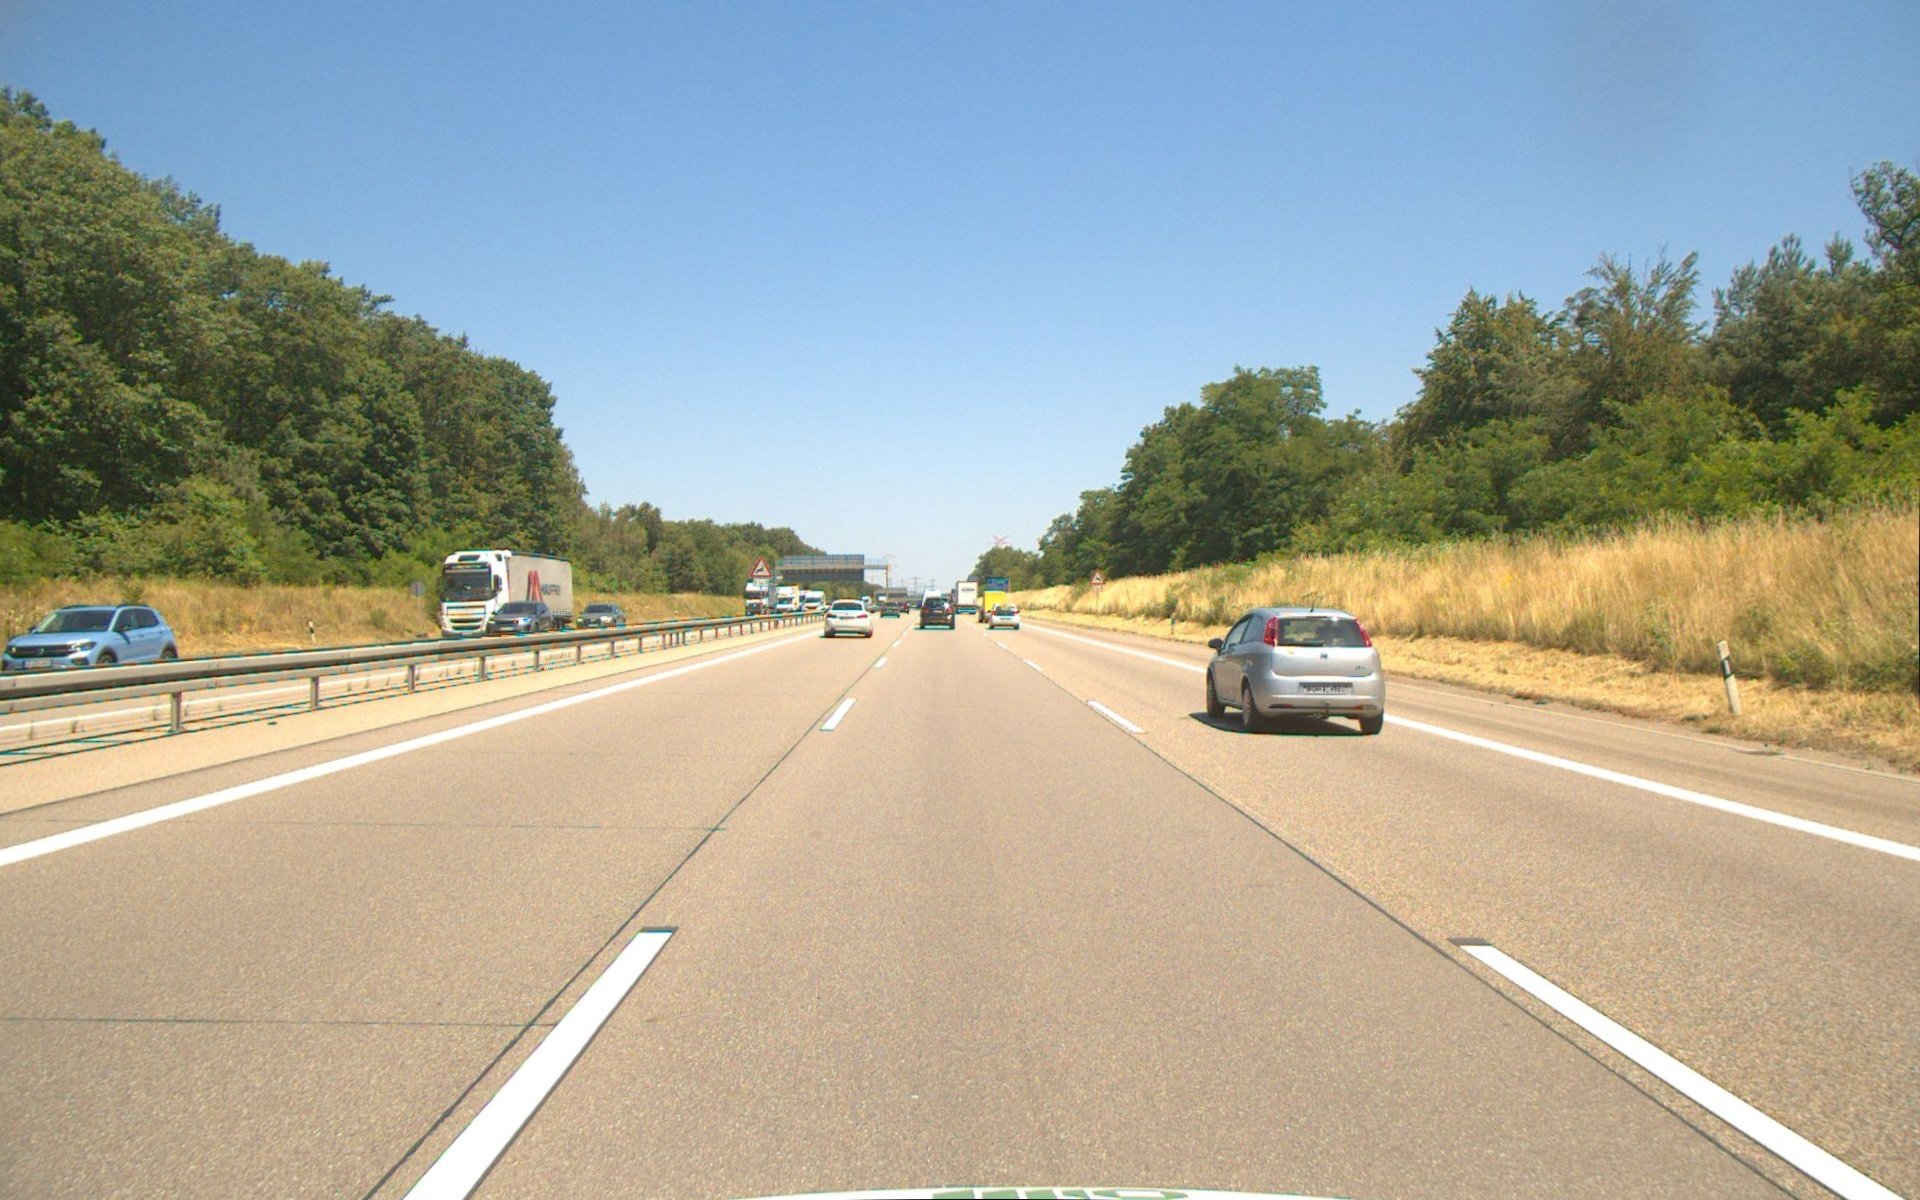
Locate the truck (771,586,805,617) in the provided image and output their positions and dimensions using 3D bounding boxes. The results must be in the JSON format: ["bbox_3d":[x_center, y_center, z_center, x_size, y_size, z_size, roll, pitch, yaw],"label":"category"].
[{"bbox_3d":[-19.313,0.134,186.382,3.365,3.403,5.235,-1,0,-2],"label":"truck"}]

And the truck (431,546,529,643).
[{"bbox_3d":[-21.866,-0.250,75.622,2.846,4.138,5.651,-2,0,-2],"label":"truck"}]

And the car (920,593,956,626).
[{"bbox_3d":[-1.239,0.513,89.977,1.795,1.701,3.998,1,0,-3],"label":"car"}]

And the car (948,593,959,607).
[{"bbox_3d":[-1.025,-0.025,259.114,1.525,2.049,3.899,2,0,-2],"label":"car"}]

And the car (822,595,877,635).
[{"bbox_3d":[-4.409,0.569,66.658,1.924,1.530,5.403,1,0,-1],"label":"car"}]

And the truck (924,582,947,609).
[{"bbox_3d":[-2.767,-0.522,184.543,2.380,2.935,6.202,1,0,-3],"label":"truck"}]

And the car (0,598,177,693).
[{"bbox_3d":[-16.660,0.800,30.860,1.953,1.595,4.527,-2,0,-1],"label":"car"}]

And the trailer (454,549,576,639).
[{"bbox_3d":[-22.087,-0.293,83.020,2.852,4.061,12.953,-2,0,-2],"label":"trailer"}]

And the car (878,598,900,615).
[{"bbox_3d":[-6.454,0.597,150.951,1.795,1.456,4.998,1,0,-1],"label":"car"}]

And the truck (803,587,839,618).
[{"bbox_3d":[-15.504,0.272,184.976,3.364,3.403,10.568,-1,0,-1],"label":"truck"}]

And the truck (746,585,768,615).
[{"bbox_3d":[-23.690,-0.027,193.397,2.076,3.403,3.999,-1,0,-2],"label":"truck"}]

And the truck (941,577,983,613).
[{"bbox_3d":[0.229,-0.657,211.570,3.917,4.390,9.864,2,0,-8],"label":"truck"}]

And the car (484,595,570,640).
[{"bbox_3d":[-16.679,0.657,63.999,1.953,1.595,5.189,-2,0,-1],"label":"car"}]

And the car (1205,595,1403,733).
[{"bbox_3d":[4.257,0.736,21.000,1.684,1.517,3.737,1,1,-1],"label":"car"}]

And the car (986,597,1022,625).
[{"bbox_3d":[2.470,0.611,93.559,1.784,1.518,3.735,1,0,-2],"label":"car"}]

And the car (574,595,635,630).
[{"bbox_3d":[-17.890,0.610,83.405,1.953,1.595,5.189,-2,0,-1],"label":"car"}]

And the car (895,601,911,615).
[{"bbox_3d":[-6.915,0.930,200.992,1.837,1.608,3.928,1,1,0],"label":"car"}]

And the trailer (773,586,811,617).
[{"bbox_3d":[-19.453,0.126,192.056,3.364,3.403,12.019,-1,0,-1],"label":"trailer"}]

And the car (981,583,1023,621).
[{"bbox_3d":[3.001,0.152,120.935,2.613,2.680,6.109,1,0,-3],"label":"car"}]
